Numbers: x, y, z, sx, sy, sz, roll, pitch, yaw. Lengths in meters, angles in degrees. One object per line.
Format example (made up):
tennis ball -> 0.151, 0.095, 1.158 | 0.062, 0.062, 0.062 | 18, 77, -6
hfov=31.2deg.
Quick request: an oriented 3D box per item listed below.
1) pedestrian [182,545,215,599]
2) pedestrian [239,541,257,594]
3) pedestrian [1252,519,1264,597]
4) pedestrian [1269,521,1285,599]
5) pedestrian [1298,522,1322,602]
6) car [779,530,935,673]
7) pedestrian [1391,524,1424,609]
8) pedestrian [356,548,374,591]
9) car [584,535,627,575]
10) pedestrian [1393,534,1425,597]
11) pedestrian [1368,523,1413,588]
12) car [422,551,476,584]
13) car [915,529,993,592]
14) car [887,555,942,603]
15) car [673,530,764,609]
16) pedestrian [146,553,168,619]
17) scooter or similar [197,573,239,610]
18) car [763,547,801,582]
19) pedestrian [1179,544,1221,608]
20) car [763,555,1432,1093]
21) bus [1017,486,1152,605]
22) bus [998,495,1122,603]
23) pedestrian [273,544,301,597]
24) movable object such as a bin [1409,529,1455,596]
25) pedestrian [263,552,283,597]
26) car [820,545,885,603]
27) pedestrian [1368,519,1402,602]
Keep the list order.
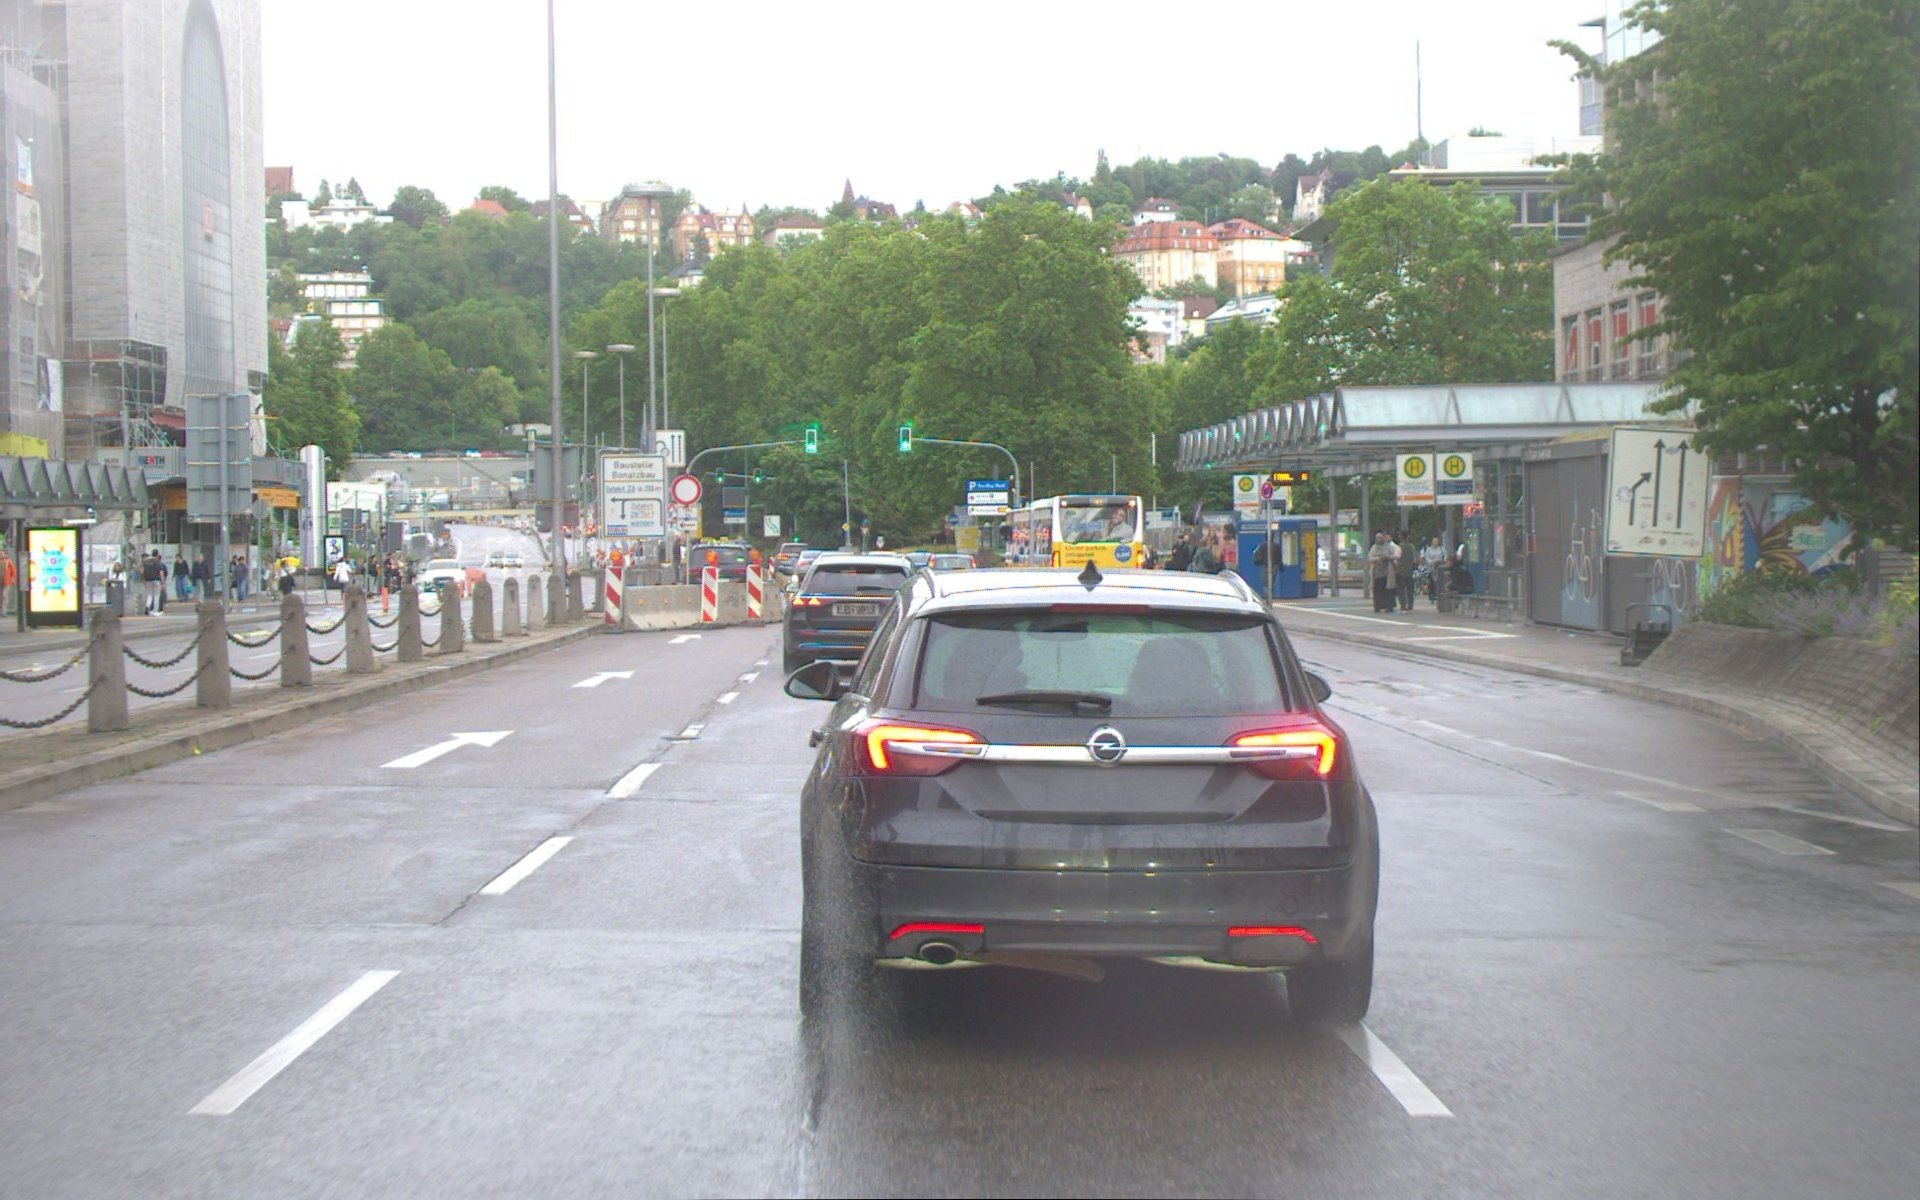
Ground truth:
pedestrian -> -25.687, -0.948, 115.991 | 0.839, 1.835, 1.058 | 0, 1, 1
pedestrian -> -24.728, -1.137, 119.377 | 0.570, 1.835, 0.705 | 0, 1, -16
pedestrian -> 7.004, -0.991, 80.813 | 0.243, 1.830, 0.512 | 0, 1, 1
pedestrian -> 7.477, -0.947, 81.031 | 0.347, 1.830, 0.533 | 0, 1, 1
pedestrian -> 9.637, -1.050, 94.726 | 0.590, 2.207, 0.587 | 0, 1, 0
car -> -1.275, -0.011, 42.903 | 1.830, 1.680, 4.134 | -1, 1, -1
pedestrian -> 9.731, -0.729, 74.808 | 0.627, 1.830, 0.641 | 0, 1, 0
pedestrian -> -25.726, -1.313, 148.674 | 0.697, 1.835, 0.878 | 0, 0, -4
car -> -18.316, -2.321, 177.439 | 1.993, 2.007, 5.371 | 0, 0, -8
pedestrian -> 12.049, -0.934, 92.247 | 0.748, 1.689, 0.902 | 0, 1, 1
pedestrian -> 11.971, -1.241, 95.676 | 0.786, 1.798, 0.993 | -1, 1, -31
car -> -23.285, -1.457, 156.769 | 1.993, 1.463, 4.000 | 1, 0, -2
car -> -0.196, -1.112, 97.266 | 1.851, 1.711, 4.001 | 0, 0, -5
car -> -1.539, -0.706, 114.418 | 1.674, 1.576, 3.240 | 1, 0, -3
car -> -5.947, -0.770, 85.134 | 1.993, 1.856, 4.833 | -1, 1, -1
pedestrian -> -22.231, -0.392, 95.180 | 0.507, 1.835, 0.704 | 0, 1, -8
scooter or similar -> -21.821, -0.252, 101.146 | 0.459, 1.062, 1.237 | 0, 1, 33
car -> -8.696, -1.720, 168.117 | 1.706, 1.660, 3.706 | 1, 0, -1
pedestrian -> 6.384, -0.643, 91.494 | 0.759, 1.684, 0.999 | 0, 1, -23
car -> 0.352, 0.598, 12.085 | 1.877, 1.503, 4.852 | 0, 1, -1
bus -> 3.491, -1.524, 98.776 | 3.141, 3.236, 9.136 | 1, 0, -2
bus -> 3.068, -1.561, 107.936 | 3.113, 3.194, 9.243 | 1, 0, -3
pedestrian -> -23.082, -1.012, 117.935 | 0.875, 1.835, 0.839 | 0, 1, -16
movable object such as a bin -> 11.552, -0.924, 84.199 | 0.662, 1.646, 1.049 | 0, 1, -25
pedestrian -> -25.941, -0.963, 129.803 | 0.681, 1.679, 0.839 | 0, 1, -16
car -> -3.805, -0.915, 121.215 | 1.983, 2.007, 4.370 | 0, 0, -6
pedestrian -> 9.373, -0.870, 75.874 | 0.675, 1.830, 0.574 | 0, 1, 0
